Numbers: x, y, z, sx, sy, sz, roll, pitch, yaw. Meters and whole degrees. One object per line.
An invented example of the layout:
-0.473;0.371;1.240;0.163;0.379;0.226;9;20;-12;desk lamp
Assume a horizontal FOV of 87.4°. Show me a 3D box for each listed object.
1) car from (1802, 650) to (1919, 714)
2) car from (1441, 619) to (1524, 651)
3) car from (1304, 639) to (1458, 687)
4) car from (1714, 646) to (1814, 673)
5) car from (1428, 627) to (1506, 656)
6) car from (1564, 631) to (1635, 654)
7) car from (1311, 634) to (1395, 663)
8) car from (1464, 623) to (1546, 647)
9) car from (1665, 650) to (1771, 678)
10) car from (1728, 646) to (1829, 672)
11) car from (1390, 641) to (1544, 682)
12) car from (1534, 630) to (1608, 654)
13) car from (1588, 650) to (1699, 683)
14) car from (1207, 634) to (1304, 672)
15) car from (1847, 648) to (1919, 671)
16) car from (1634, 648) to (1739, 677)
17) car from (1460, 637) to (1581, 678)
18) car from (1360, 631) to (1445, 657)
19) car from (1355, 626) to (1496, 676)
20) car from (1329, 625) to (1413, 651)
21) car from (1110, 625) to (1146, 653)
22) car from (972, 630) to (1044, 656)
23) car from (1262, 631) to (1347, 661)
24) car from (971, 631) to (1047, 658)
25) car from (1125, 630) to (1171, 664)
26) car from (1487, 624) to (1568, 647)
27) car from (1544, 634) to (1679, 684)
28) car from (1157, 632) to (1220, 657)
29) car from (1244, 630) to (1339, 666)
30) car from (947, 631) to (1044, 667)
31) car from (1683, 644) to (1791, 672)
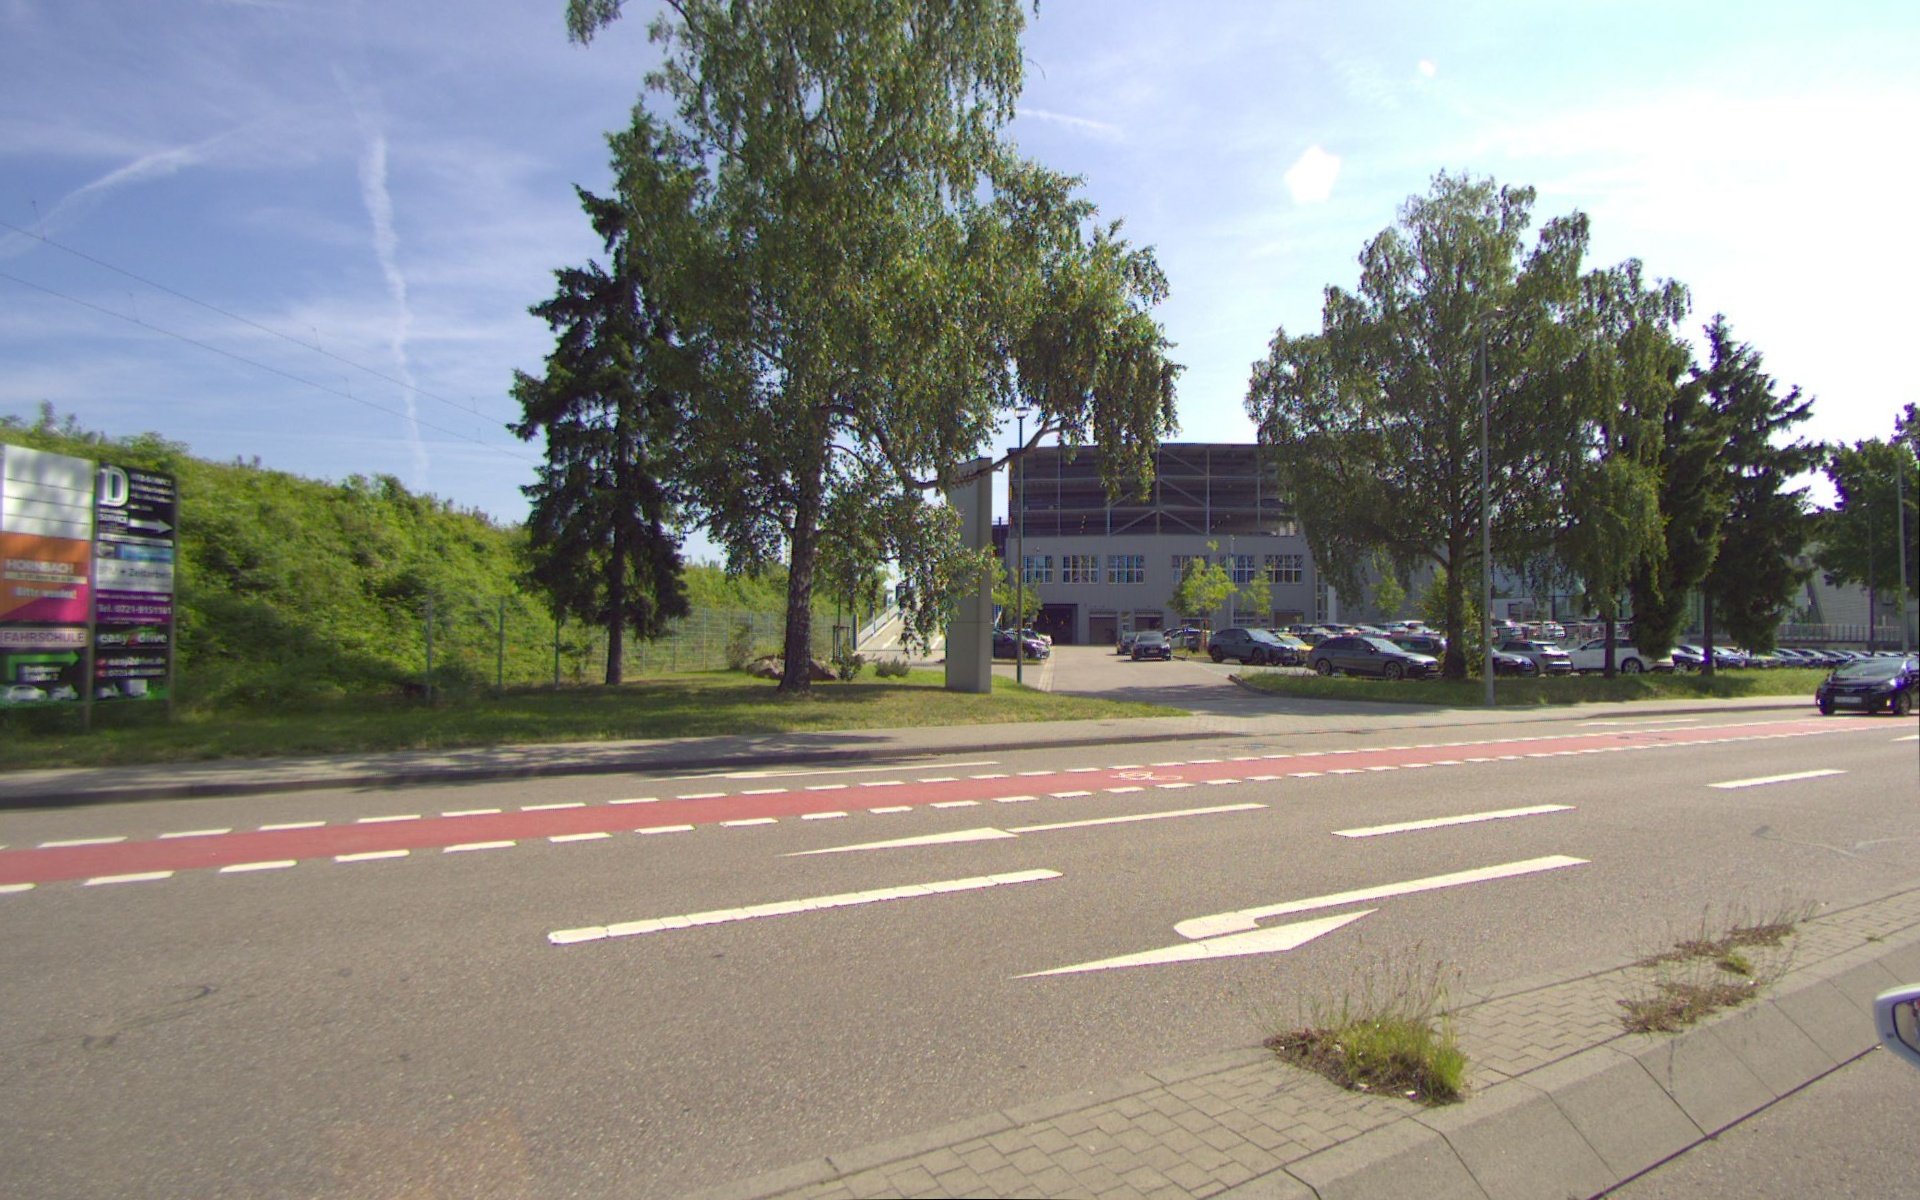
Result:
23.693;2.091;25.969;3.980;1.538;1.690;2;-4;-31;car
34.128;2.314;65.683;1.958;1.988;4.477;2;-3;-31;car
14.386;2.124;34.618;1.976;1.408;4.665;2;-1;-30;car
40.998;3.049;51.283;1.844;1.302;3.576;2;-4;-31;car
32.045;2.623;63.603;1.646;1.727;4.247;2;-3;-31;car
45.373;2.989;71.384;1.648;1.515;3.968;2;-1;-30;car
22.757;2.782;58.325;1.979;1.496;4.178;2;-1;-33;car
36.329;2.347;67.039;1.958;1.571;4.477;2;-3;-31;car
36.592;3.100;48.583;1.644;1.302;3.724;2;-4;-31;car
42.975;3.120;52.796;1.963;1.302;3.662;2;-4;-31;car
18.712;2.228;37.296;1.976;1.285;4.829;2;-1;-30;car
42.577;2.918;70.039;2.027;1.515;3.968;2;-1;-30;car
30.797;2.966;45.343;1.725;1.302;3.771;2;-1;-31;car
13.634;2.429;46.554;1.785;1.585;4.221;2;-1;-31;car
56.700;3.586;60.540;1.898;1.307;4.477;2;-3;-31;car
33.849;2.937;46.904;1.725;1.302;3.576;2;-4;-31;car
21.323;2.160;38.340;1.795;1.389;3.663;2;-1;-30;car
26.955;2.691;61.294;1.958;1.504;4.477;2;-3;-31;car
16.481;1.766;35.759;1.976;1.567;4.194;2;-1;-30;car
24.679;2.250;60.419;1.870;1.437;4.476;2;-1;-31;car
10.918;2.518;65.388;1.734;1.725;4.001;1;-1;1;car
3.142;2.795;66.159;4.666;1.567;1.815;1;-1;2;car
19.131;2.536;55.910;1.979;1.496;4.178;2;-1;-33;car
3.074;2.779;63.302;4.666;1.567;1.815;1;-1;2;car
9.480;2.359;50.917;1.628;1.567;4.037;1;-1;1;car
38.621;2.452;68.460;1.958;1.504;4.477;2;-3;-31;car
27.621;2.458;42.726;1.975;1.900;4.444;2;-1;-28;car
15.812;3.059;69.616;3.920;1.679;2.001;0;-2;2;car
15.871;2.270;48.238;1.785;1.585;4.221;2;-1;-31;car
1.759;2.396;49.910;4.666;1.639;2.001;1;-1;2;car
38.665;2.911;50.061;1.819;1.357;3.868;2;-4;-31;car
